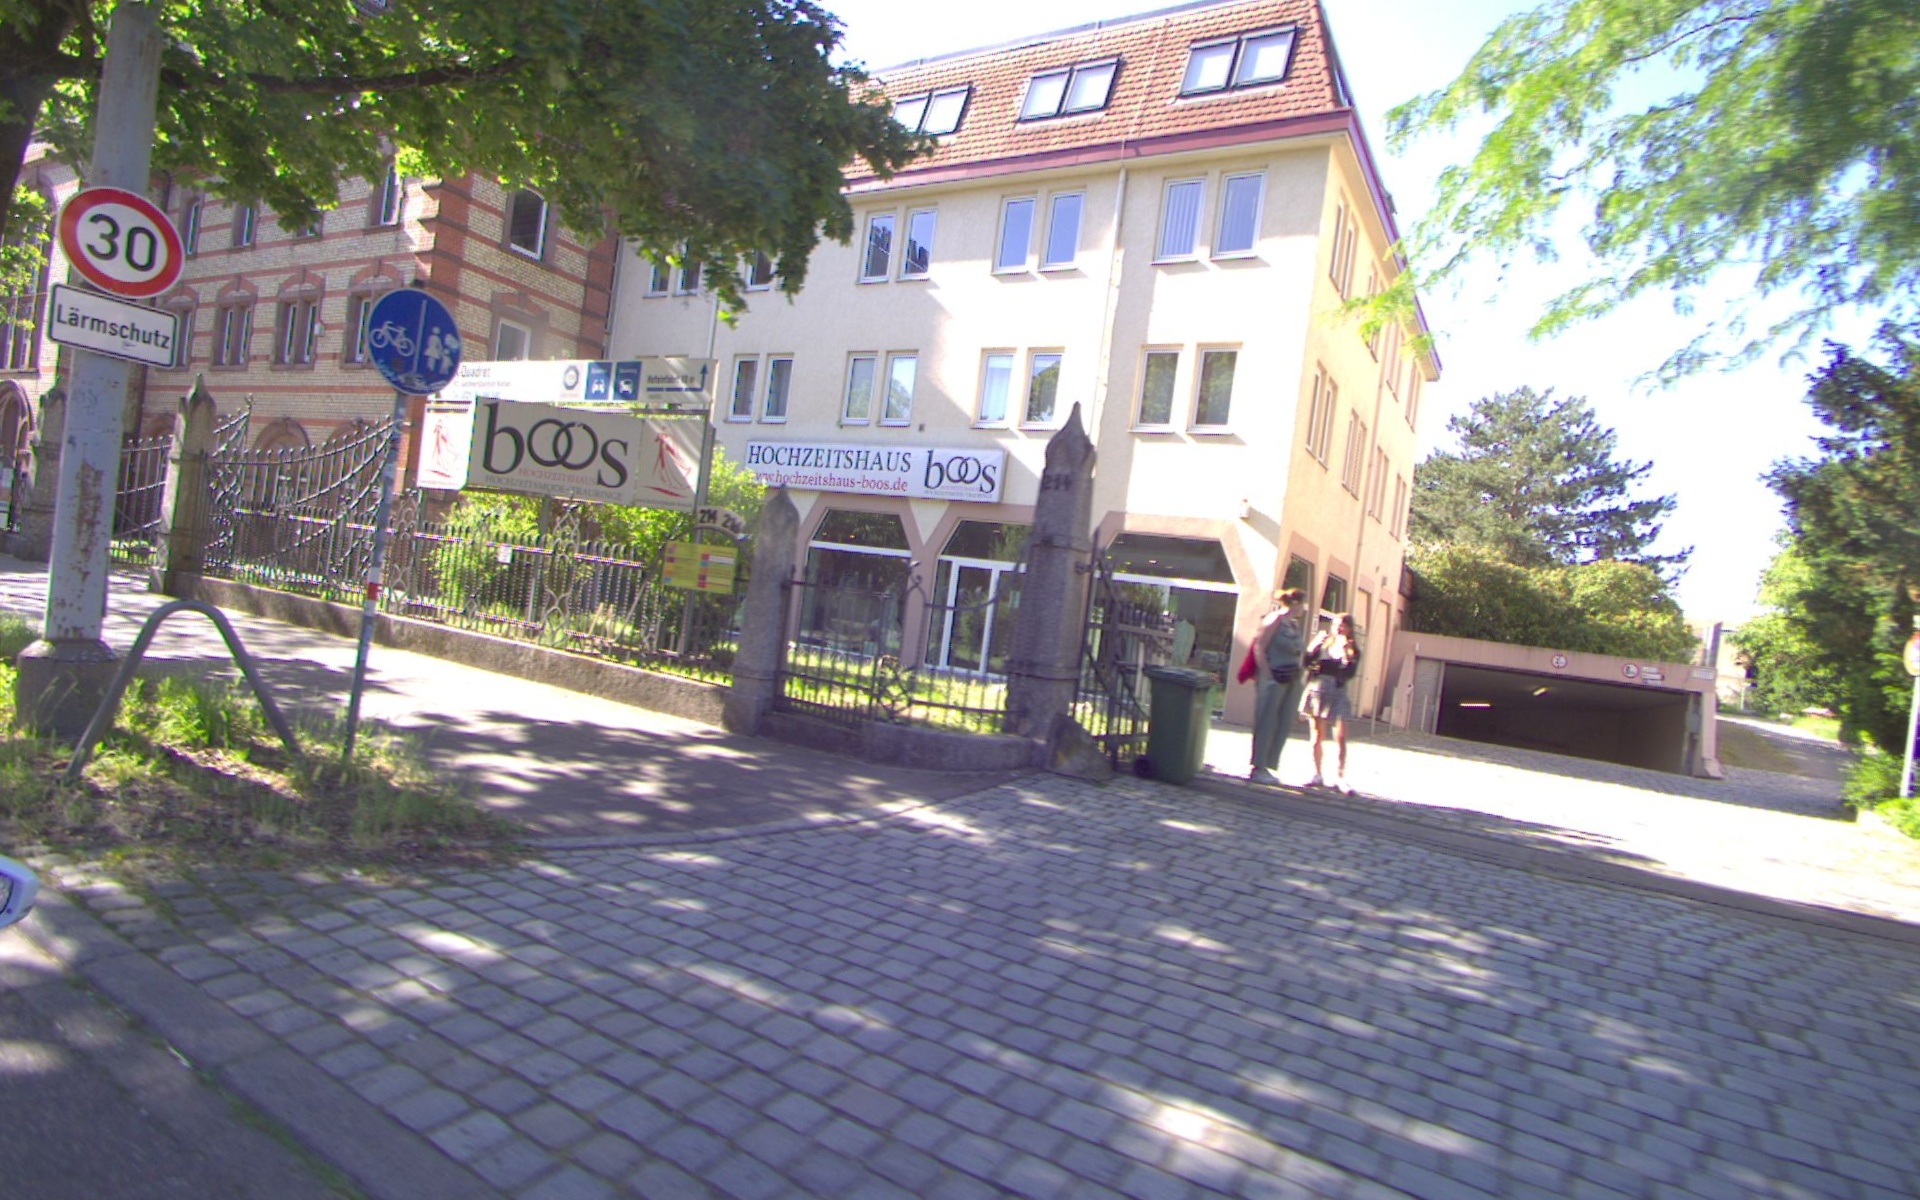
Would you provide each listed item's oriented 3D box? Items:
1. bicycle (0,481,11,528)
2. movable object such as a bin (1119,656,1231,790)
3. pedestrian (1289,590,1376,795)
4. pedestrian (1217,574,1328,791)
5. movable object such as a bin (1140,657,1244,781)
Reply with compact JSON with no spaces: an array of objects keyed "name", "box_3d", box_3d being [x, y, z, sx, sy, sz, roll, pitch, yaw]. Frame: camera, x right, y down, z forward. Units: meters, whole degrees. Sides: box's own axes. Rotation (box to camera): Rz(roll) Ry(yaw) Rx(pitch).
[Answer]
[{"name":"bicycle","box_3d":[-25.419,-2.566,25.202,0.675,1.192,2.202,7,-1,25]},{"name":"movable object such as a bin","box_3d":[1.805,1.006,8.427,0.656,0.978,0.625,8,3,30]},{"name":"pedestrian","box_3d":[3.347,0.812,9.030,0.506,1.731,0.539,8,2,23]},{"name":"pedestrian","box_3d":[2.730,0.705,8.833,0.534,1.801,0.531,7,2,-10]},{"name":"movable object such as a bin","box_3d":[2.098,1.049,9.092,0.656,0.978,0.625,8,3,30]}]
